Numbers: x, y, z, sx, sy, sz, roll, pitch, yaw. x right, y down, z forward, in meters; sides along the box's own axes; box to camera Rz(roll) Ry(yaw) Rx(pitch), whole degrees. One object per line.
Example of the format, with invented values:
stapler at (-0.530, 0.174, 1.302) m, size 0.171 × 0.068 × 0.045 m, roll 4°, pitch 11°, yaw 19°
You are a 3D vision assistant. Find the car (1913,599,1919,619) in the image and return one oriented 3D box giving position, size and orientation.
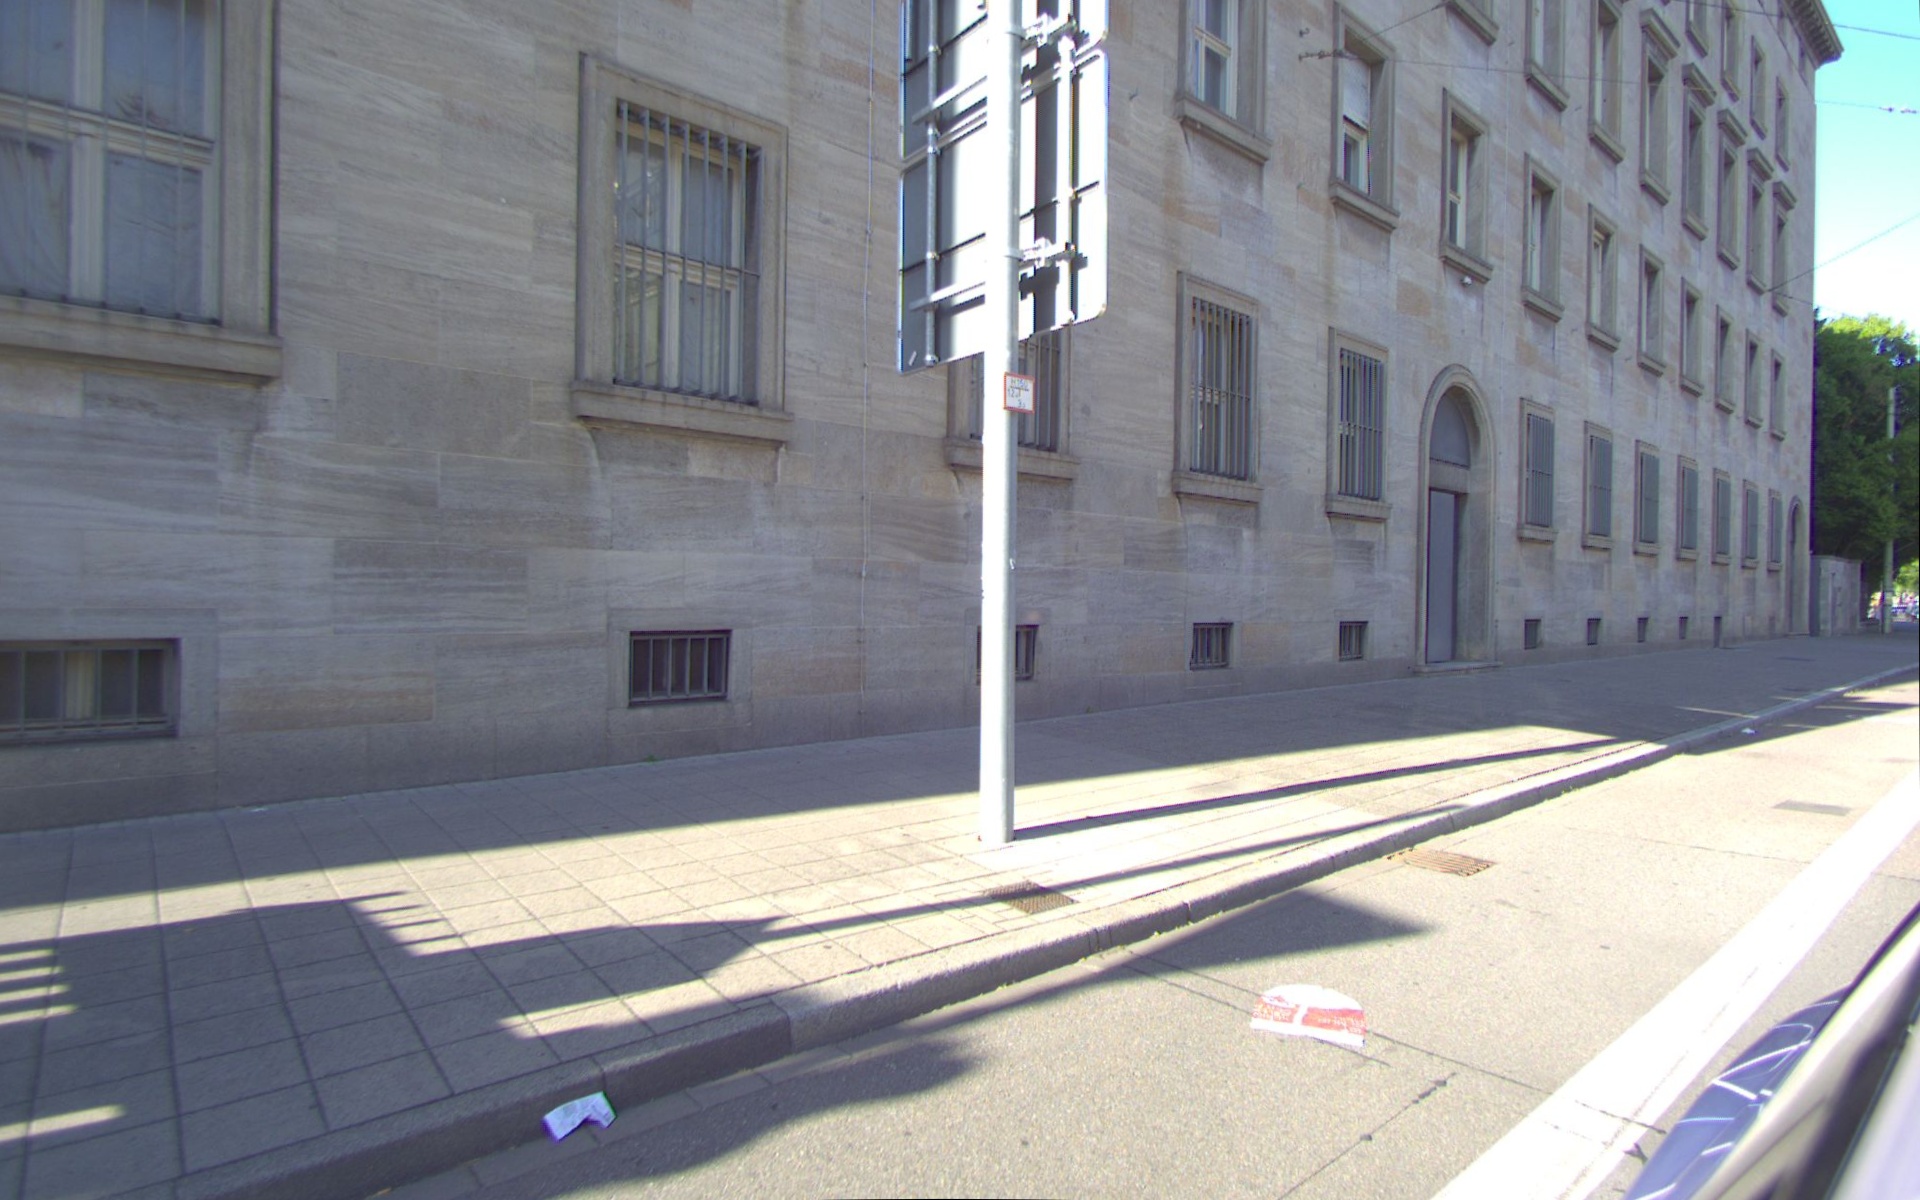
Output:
car at (92.088, 0.858, 96.118) m, size 1.990 × 1.794 × 3.943 m, roll 1°, pitch 1°, yaw 39°
